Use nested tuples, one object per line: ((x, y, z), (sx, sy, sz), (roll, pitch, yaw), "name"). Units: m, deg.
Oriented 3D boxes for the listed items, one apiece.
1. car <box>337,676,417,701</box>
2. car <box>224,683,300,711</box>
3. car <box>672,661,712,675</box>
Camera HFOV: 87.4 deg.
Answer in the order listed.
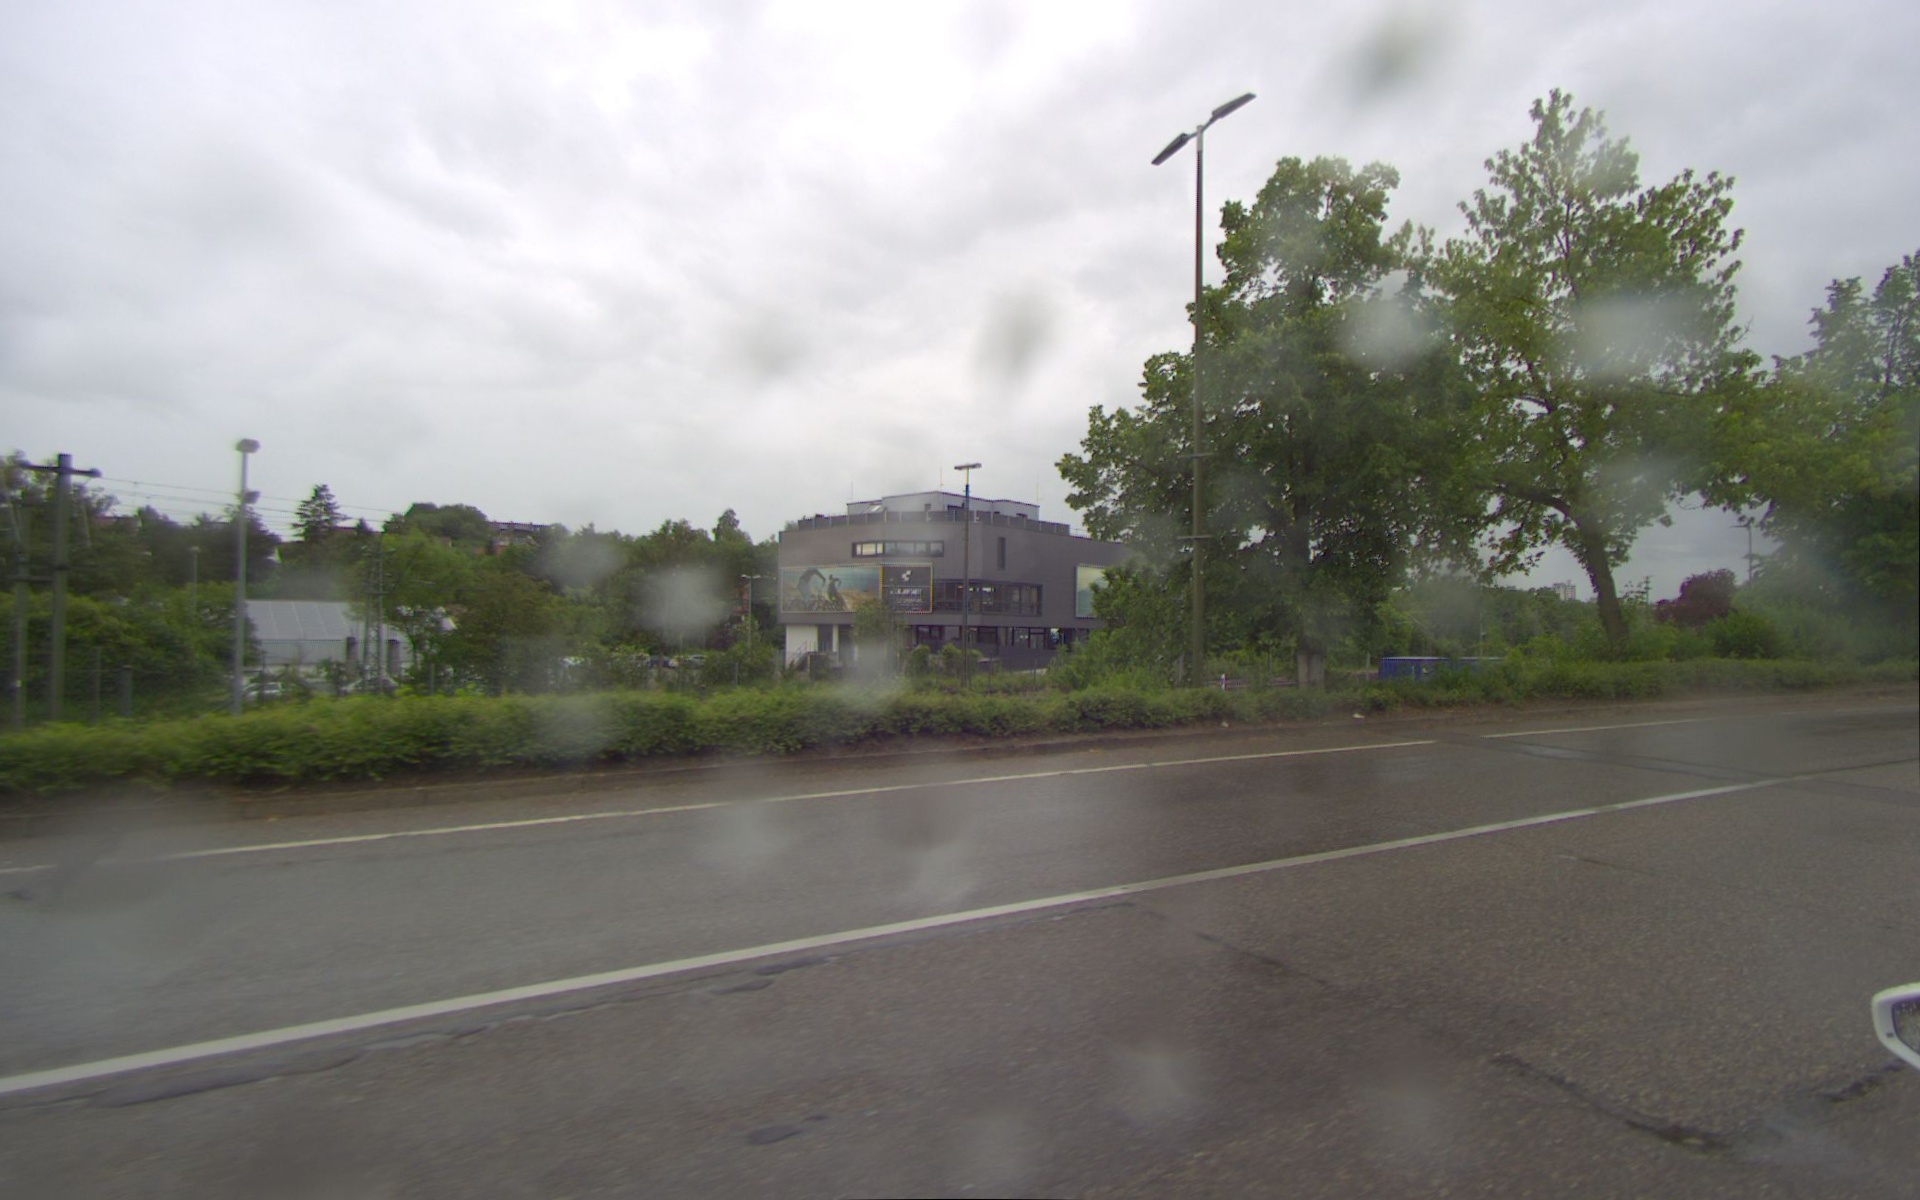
((-36.322, 5.480, 62.615), (1.776, 1.428, 3.976), (-4, -5, 44), "car")
((-40.620, 5.612, 58.455), (3.542, 1.428, 1.781), (2, -4, -38), "car")
((-29.182, 7.418, 109.367), (3.948, 1.428, 1.789), (1, -4, -27), "car")
